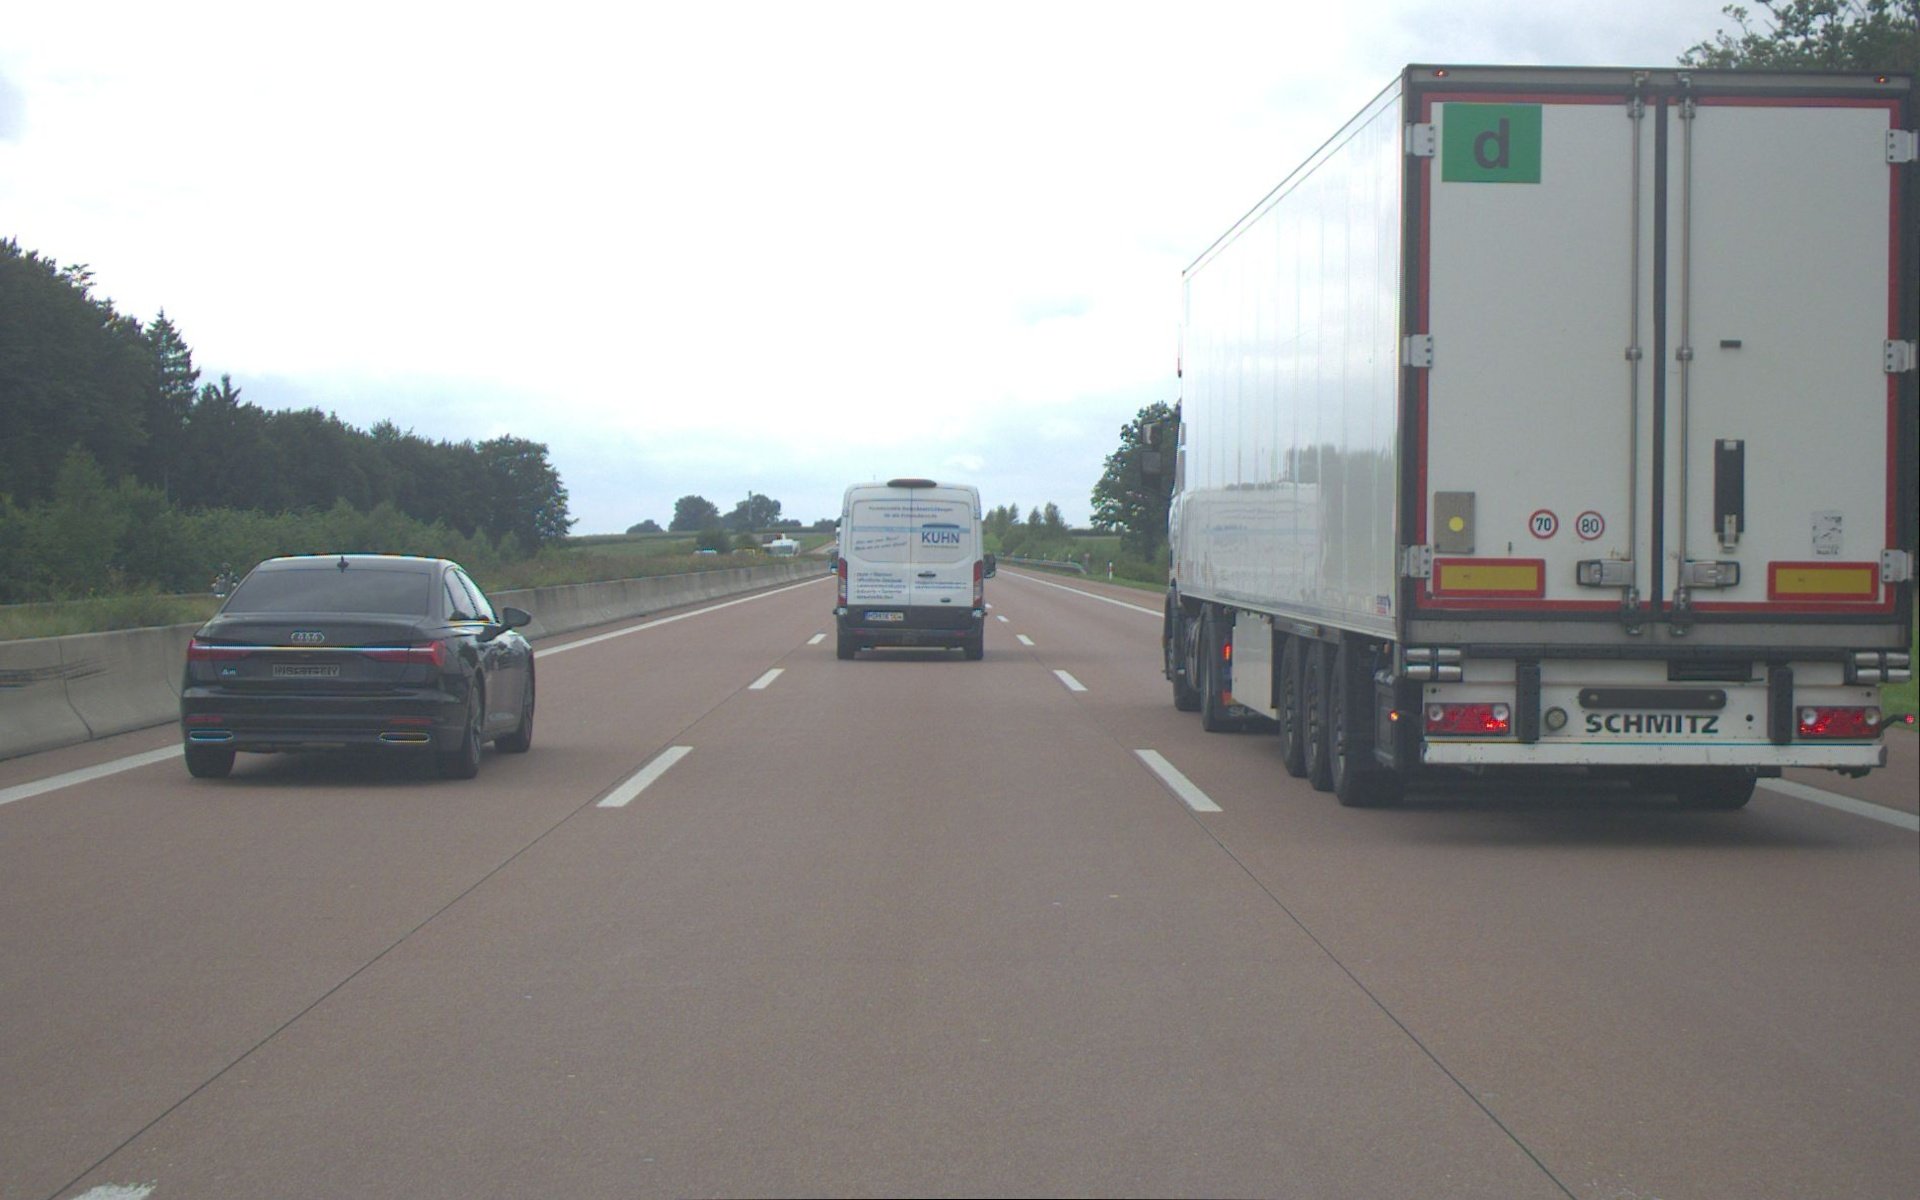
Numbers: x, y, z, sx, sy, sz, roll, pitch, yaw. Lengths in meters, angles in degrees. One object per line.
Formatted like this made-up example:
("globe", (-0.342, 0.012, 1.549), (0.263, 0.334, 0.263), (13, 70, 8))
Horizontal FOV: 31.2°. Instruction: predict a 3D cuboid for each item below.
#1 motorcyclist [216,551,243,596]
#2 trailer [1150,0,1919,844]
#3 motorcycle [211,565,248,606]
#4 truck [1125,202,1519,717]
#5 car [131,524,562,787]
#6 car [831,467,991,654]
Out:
("motorcyclist", (-21.017, -0.776, 98.919), (0.594, 1.279, 0.802), (1, 1, -1))
("trailer", (3.266, -1.053, 23.771), (2.921, 4.279, 13.615), (0, 1, -1))
("motorcycle", (-21.026, -0.424, 99.010), (0.600, 1.151, 2.154), (1, 1, -1))
("truck", (3.147, -1.211, 31.335), (2.921, 4.279, 5.335), (0, 1, -1))
("car", (-4.047, 0.278, 23.684), (2.085, 1.545, 5.675), (1, 1, -2))
("car", (-0.663, -0.617, 49.384), (2.137, 2.498, 7.132), (0, 1, 0))
